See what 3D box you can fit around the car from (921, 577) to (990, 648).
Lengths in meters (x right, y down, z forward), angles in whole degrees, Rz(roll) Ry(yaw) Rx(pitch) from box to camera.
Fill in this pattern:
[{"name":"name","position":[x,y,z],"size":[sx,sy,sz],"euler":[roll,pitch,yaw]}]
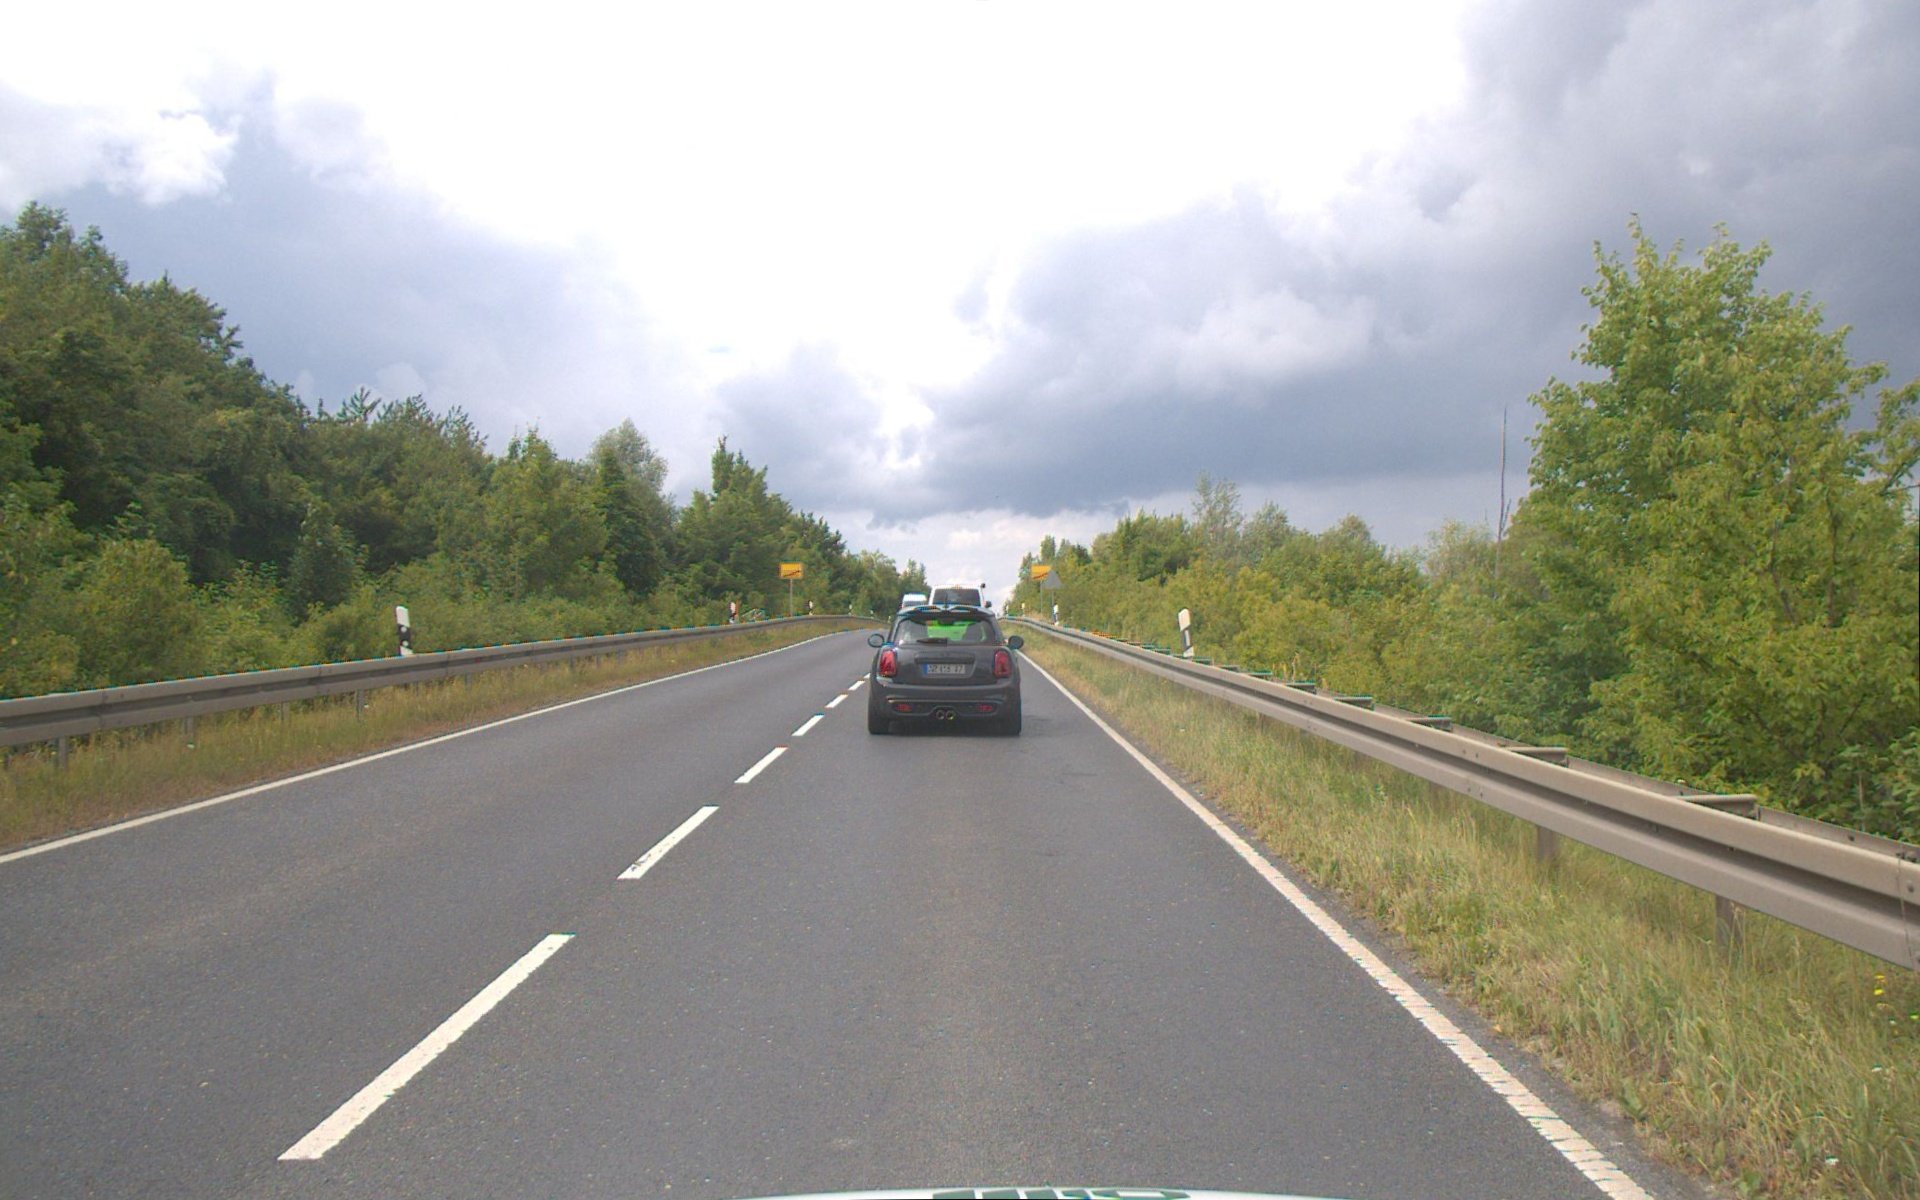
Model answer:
[{"name":"car","position":[-0.130,0.368,50.074],"size":[1.981,2.048,4.000],"euler":[0,0,0]}]

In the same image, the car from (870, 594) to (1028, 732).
[{"name":"car","position":[-0.189,0.671,19.772],"size":[1.697,1.481,3.998],"euler":[0,0,-2]}]

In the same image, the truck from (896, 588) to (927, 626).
[{"name":"truck","position":[-3.623,0.528,124.889],"size":[2.022,2.791,7.007],"euler":[-1,-1,1]}]

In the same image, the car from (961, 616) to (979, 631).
[{"name":"car","position":[0.969,2.252,161.049],"size":[1.659,1.342,4.001],"euler":[-2,0,2]}]
